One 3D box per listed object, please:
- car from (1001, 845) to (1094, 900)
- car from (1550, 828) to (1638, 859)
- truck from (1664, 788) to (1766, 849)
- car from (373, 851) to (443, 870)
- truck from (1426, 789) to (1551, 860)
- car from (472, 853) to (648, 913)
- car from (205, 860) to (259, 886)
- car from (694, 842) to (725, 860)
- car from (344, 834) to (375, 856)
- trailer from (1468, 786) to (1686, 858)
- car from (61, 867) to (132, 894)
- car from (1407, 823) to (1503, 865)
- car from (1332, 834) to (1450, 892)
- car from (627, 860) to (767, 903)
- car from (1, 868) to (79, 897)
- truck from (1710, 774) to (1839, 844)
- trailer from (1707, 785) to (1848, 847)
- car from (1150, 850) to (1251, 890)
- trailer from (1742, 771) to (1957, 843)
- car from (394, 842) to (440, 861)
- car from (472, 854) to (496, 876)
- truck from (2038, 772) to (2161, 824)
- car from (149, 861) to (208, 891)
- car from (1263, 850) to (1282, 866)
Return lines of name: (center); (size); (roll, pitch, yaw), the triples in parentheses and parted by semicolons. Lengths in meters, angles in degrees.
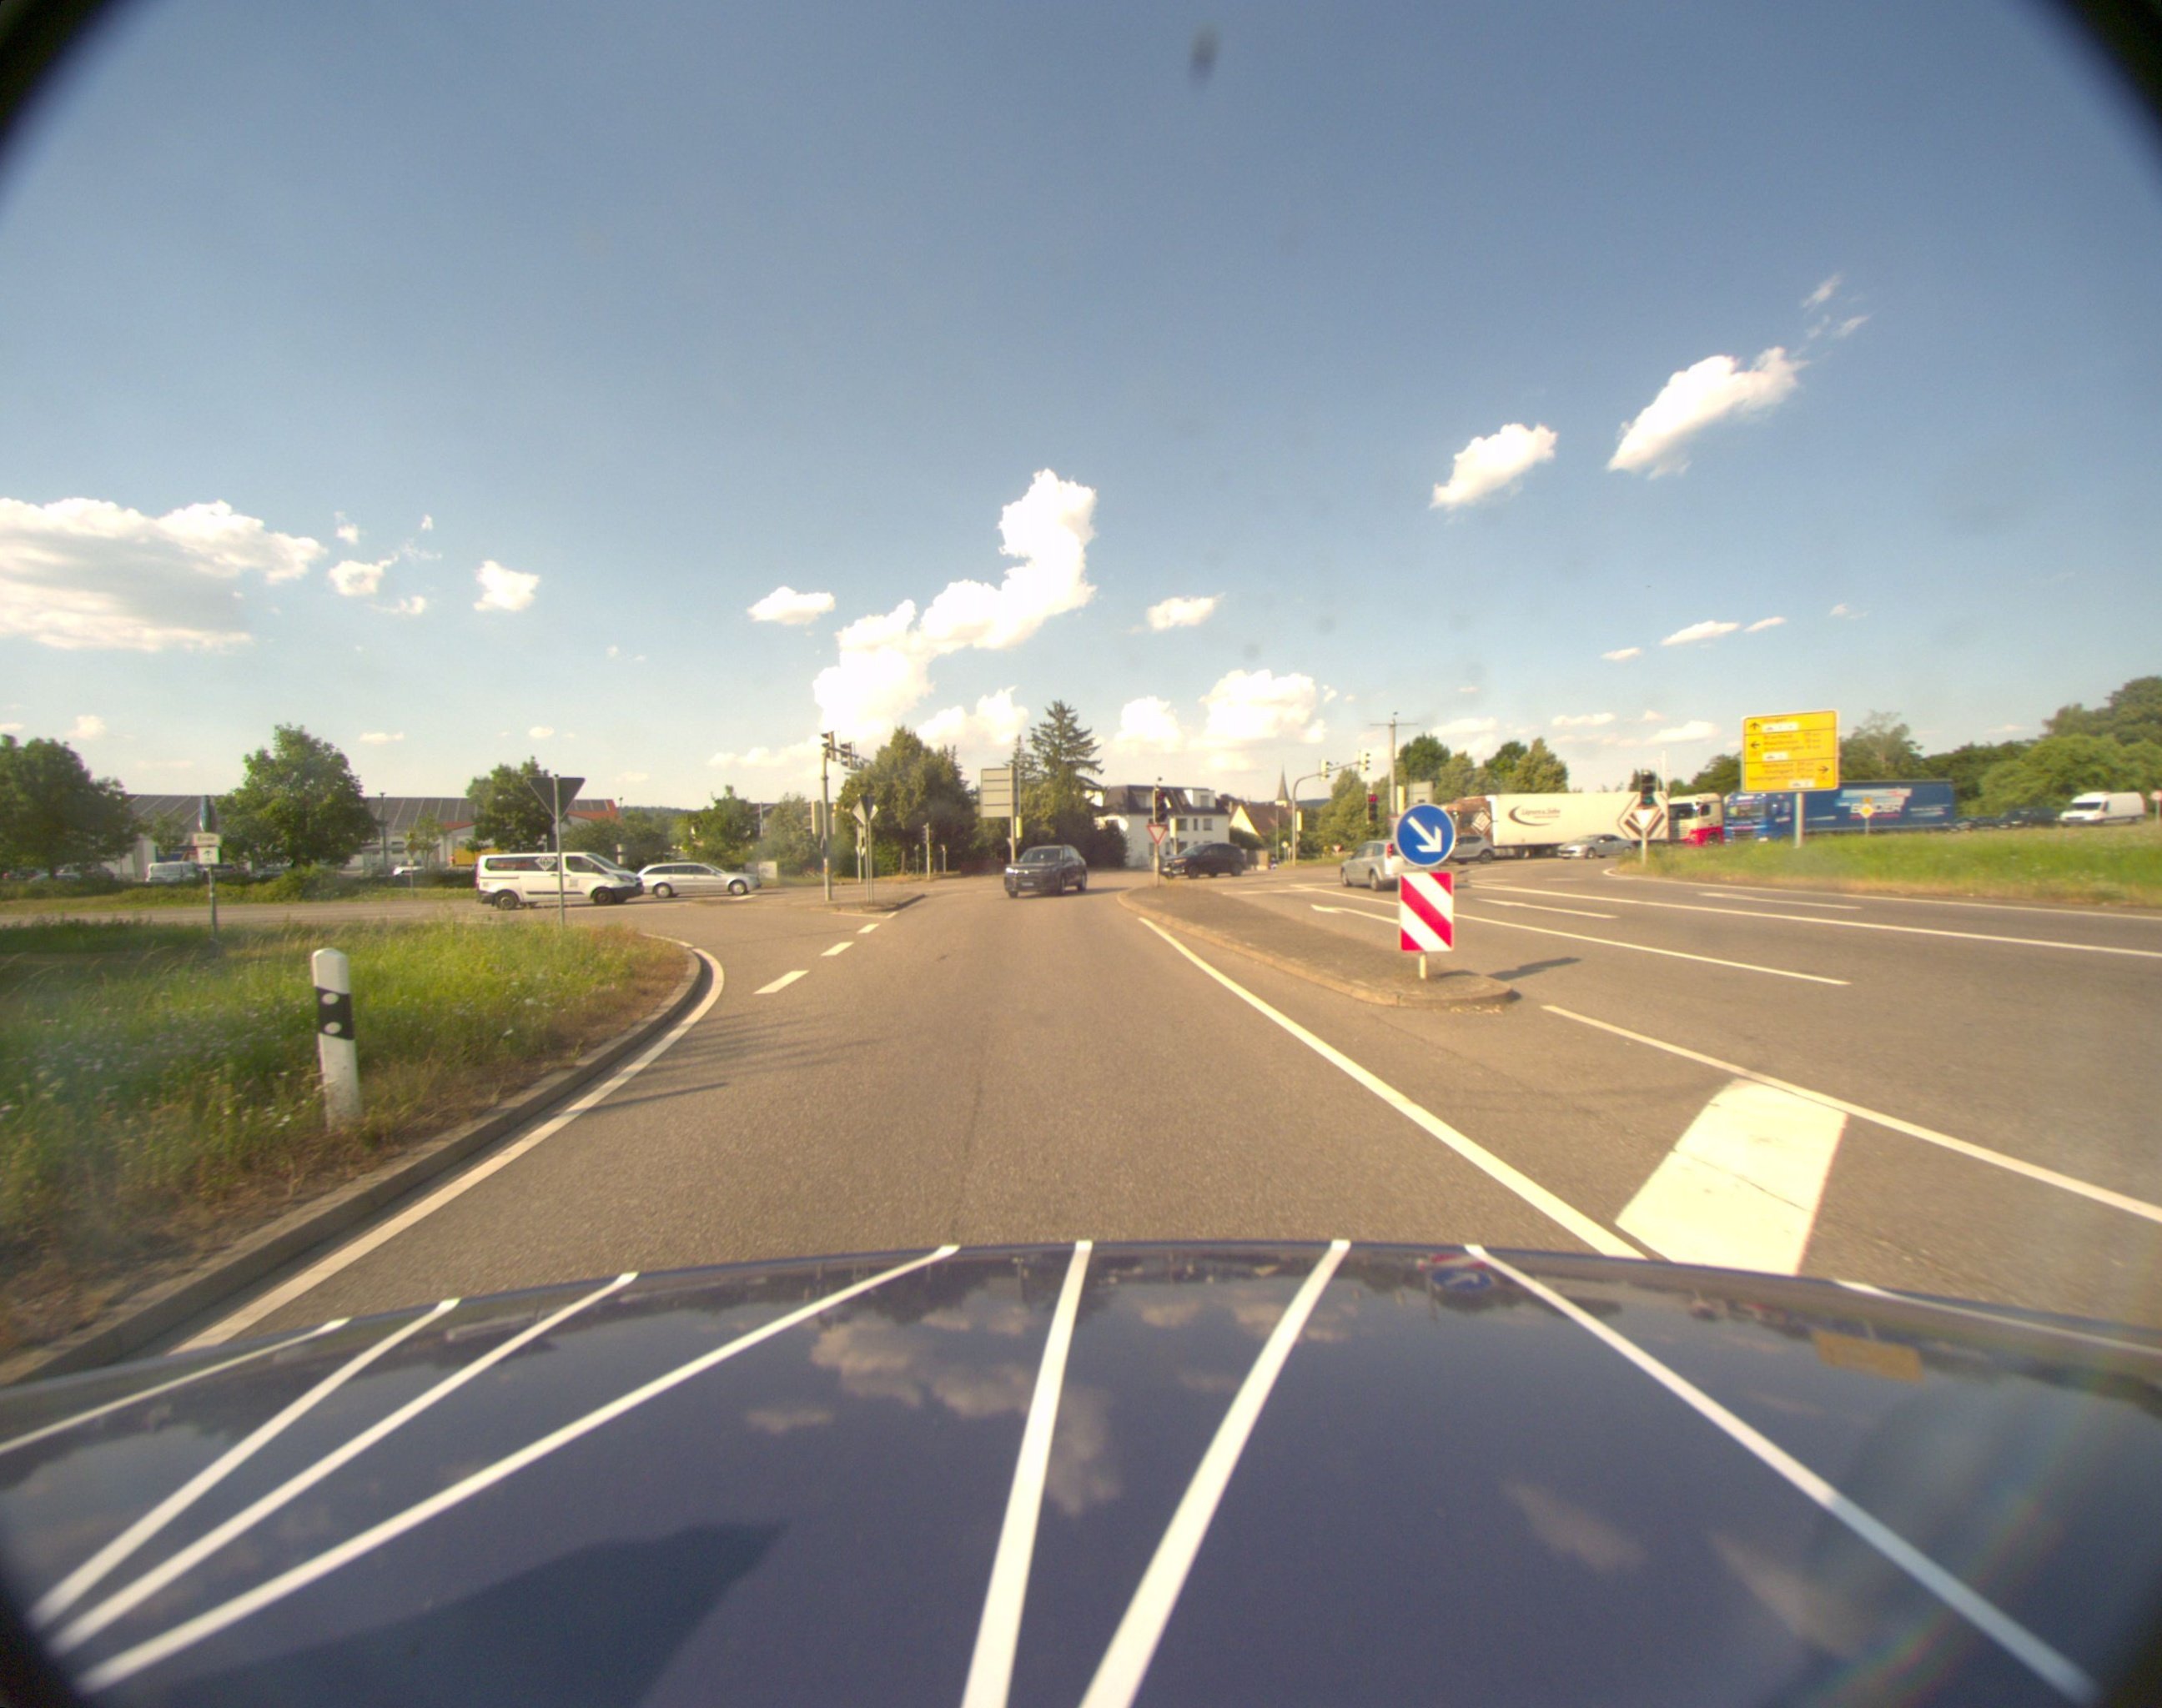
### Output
car: (-1.016, 0.548, 25.583); (1.786, 1.619, 4.473); (-3, 0, 15)
car: (29.366, -0.610, 43.501); (4.002, 1.477, 1.998); (-4, 0, -15)
truck: (42.235, -2.348, 50.644); (5.688, 3.783, 2.260); (-3, 0, -15)
car: (-63.027, 0.594, 71.255); (4.802, 1.525, 1.846); (-3, 0, -40)
truck: (24.921, -1.784, 46.543); (6.664, 4.020, 2.537); (-3, 0, -14)
car: (-18.481, 0.990, 27.213); (4.821, 1.936, 1.904); (-1, -1, -16)
car: (-71.513, 1.615, 64.073); (2.003, 2.001, 4.662); (-3, -1, -36)
car: (-36.545, -0.275, 74.721); (1.611, 1.571, 3.578); (-3, 0, -45)
car: (-68.086, -0.846, 71.751); (1.835, 1.834, 3.778); (-3, 0, -41)
trailer: (31.638, -2.071, 48.328); (14.342, 4.043, 2.537); (-2, 0, -15)
car: (-77.133, 2.102, 59.632); (2.003, 2.001, 4.921); (-3, -1, -36)
car: (19.993, -0.506, 40.635); (4.374, 1.936, 1.906); (-4, 0, -15)
car: (9.172, 0.314, 22.926); (1.819, 1.519, 4.355); (-3, -2, 2)
car: (-16.102, 1.116, 32.143); (4.955, 1.505, 1.861); (-3, 0, -15)
car: (-79.612, 2.219, 58.207); (2.003, 2.001, 4.921); (-3, -1, -36)
truck: (43.284, -2.754, 47.505); (5.604, 3.981, 3.372); (-3, 0, -15)
trailer: (47.818, -2.603, 52.152); (9.529, 3.755, 2.263); (-3, -1, -15)
car: (5.633, 0.736, 35.745); (4.554, 1.603, 1.772); (-3, 0, -31)
trailer: (50.051, -3.083, 49.448); (13.756, 3.981, 3.415); (-3, 0, -15)
car: (-64.872, -0.271, 74.289); (3.336, 1.680, 1.686); (-3, 0, -40)
car: (-54.772, 0.995, 69.718); (1.610, 1.872, 2.928); (-3, 0, -37)
truck: (84.825, -4.620, 62.451); (12.904, 3.752, 2.527); (-3, 0, -14)
car: (-64.415, 1.582, 54.297); (1.971, 2.002, 4.645); (-3, 0, -41)
car: (20.438, 0.411, 80.899); (1.790, 1.488, 4.307); (-3, 0, 16)
